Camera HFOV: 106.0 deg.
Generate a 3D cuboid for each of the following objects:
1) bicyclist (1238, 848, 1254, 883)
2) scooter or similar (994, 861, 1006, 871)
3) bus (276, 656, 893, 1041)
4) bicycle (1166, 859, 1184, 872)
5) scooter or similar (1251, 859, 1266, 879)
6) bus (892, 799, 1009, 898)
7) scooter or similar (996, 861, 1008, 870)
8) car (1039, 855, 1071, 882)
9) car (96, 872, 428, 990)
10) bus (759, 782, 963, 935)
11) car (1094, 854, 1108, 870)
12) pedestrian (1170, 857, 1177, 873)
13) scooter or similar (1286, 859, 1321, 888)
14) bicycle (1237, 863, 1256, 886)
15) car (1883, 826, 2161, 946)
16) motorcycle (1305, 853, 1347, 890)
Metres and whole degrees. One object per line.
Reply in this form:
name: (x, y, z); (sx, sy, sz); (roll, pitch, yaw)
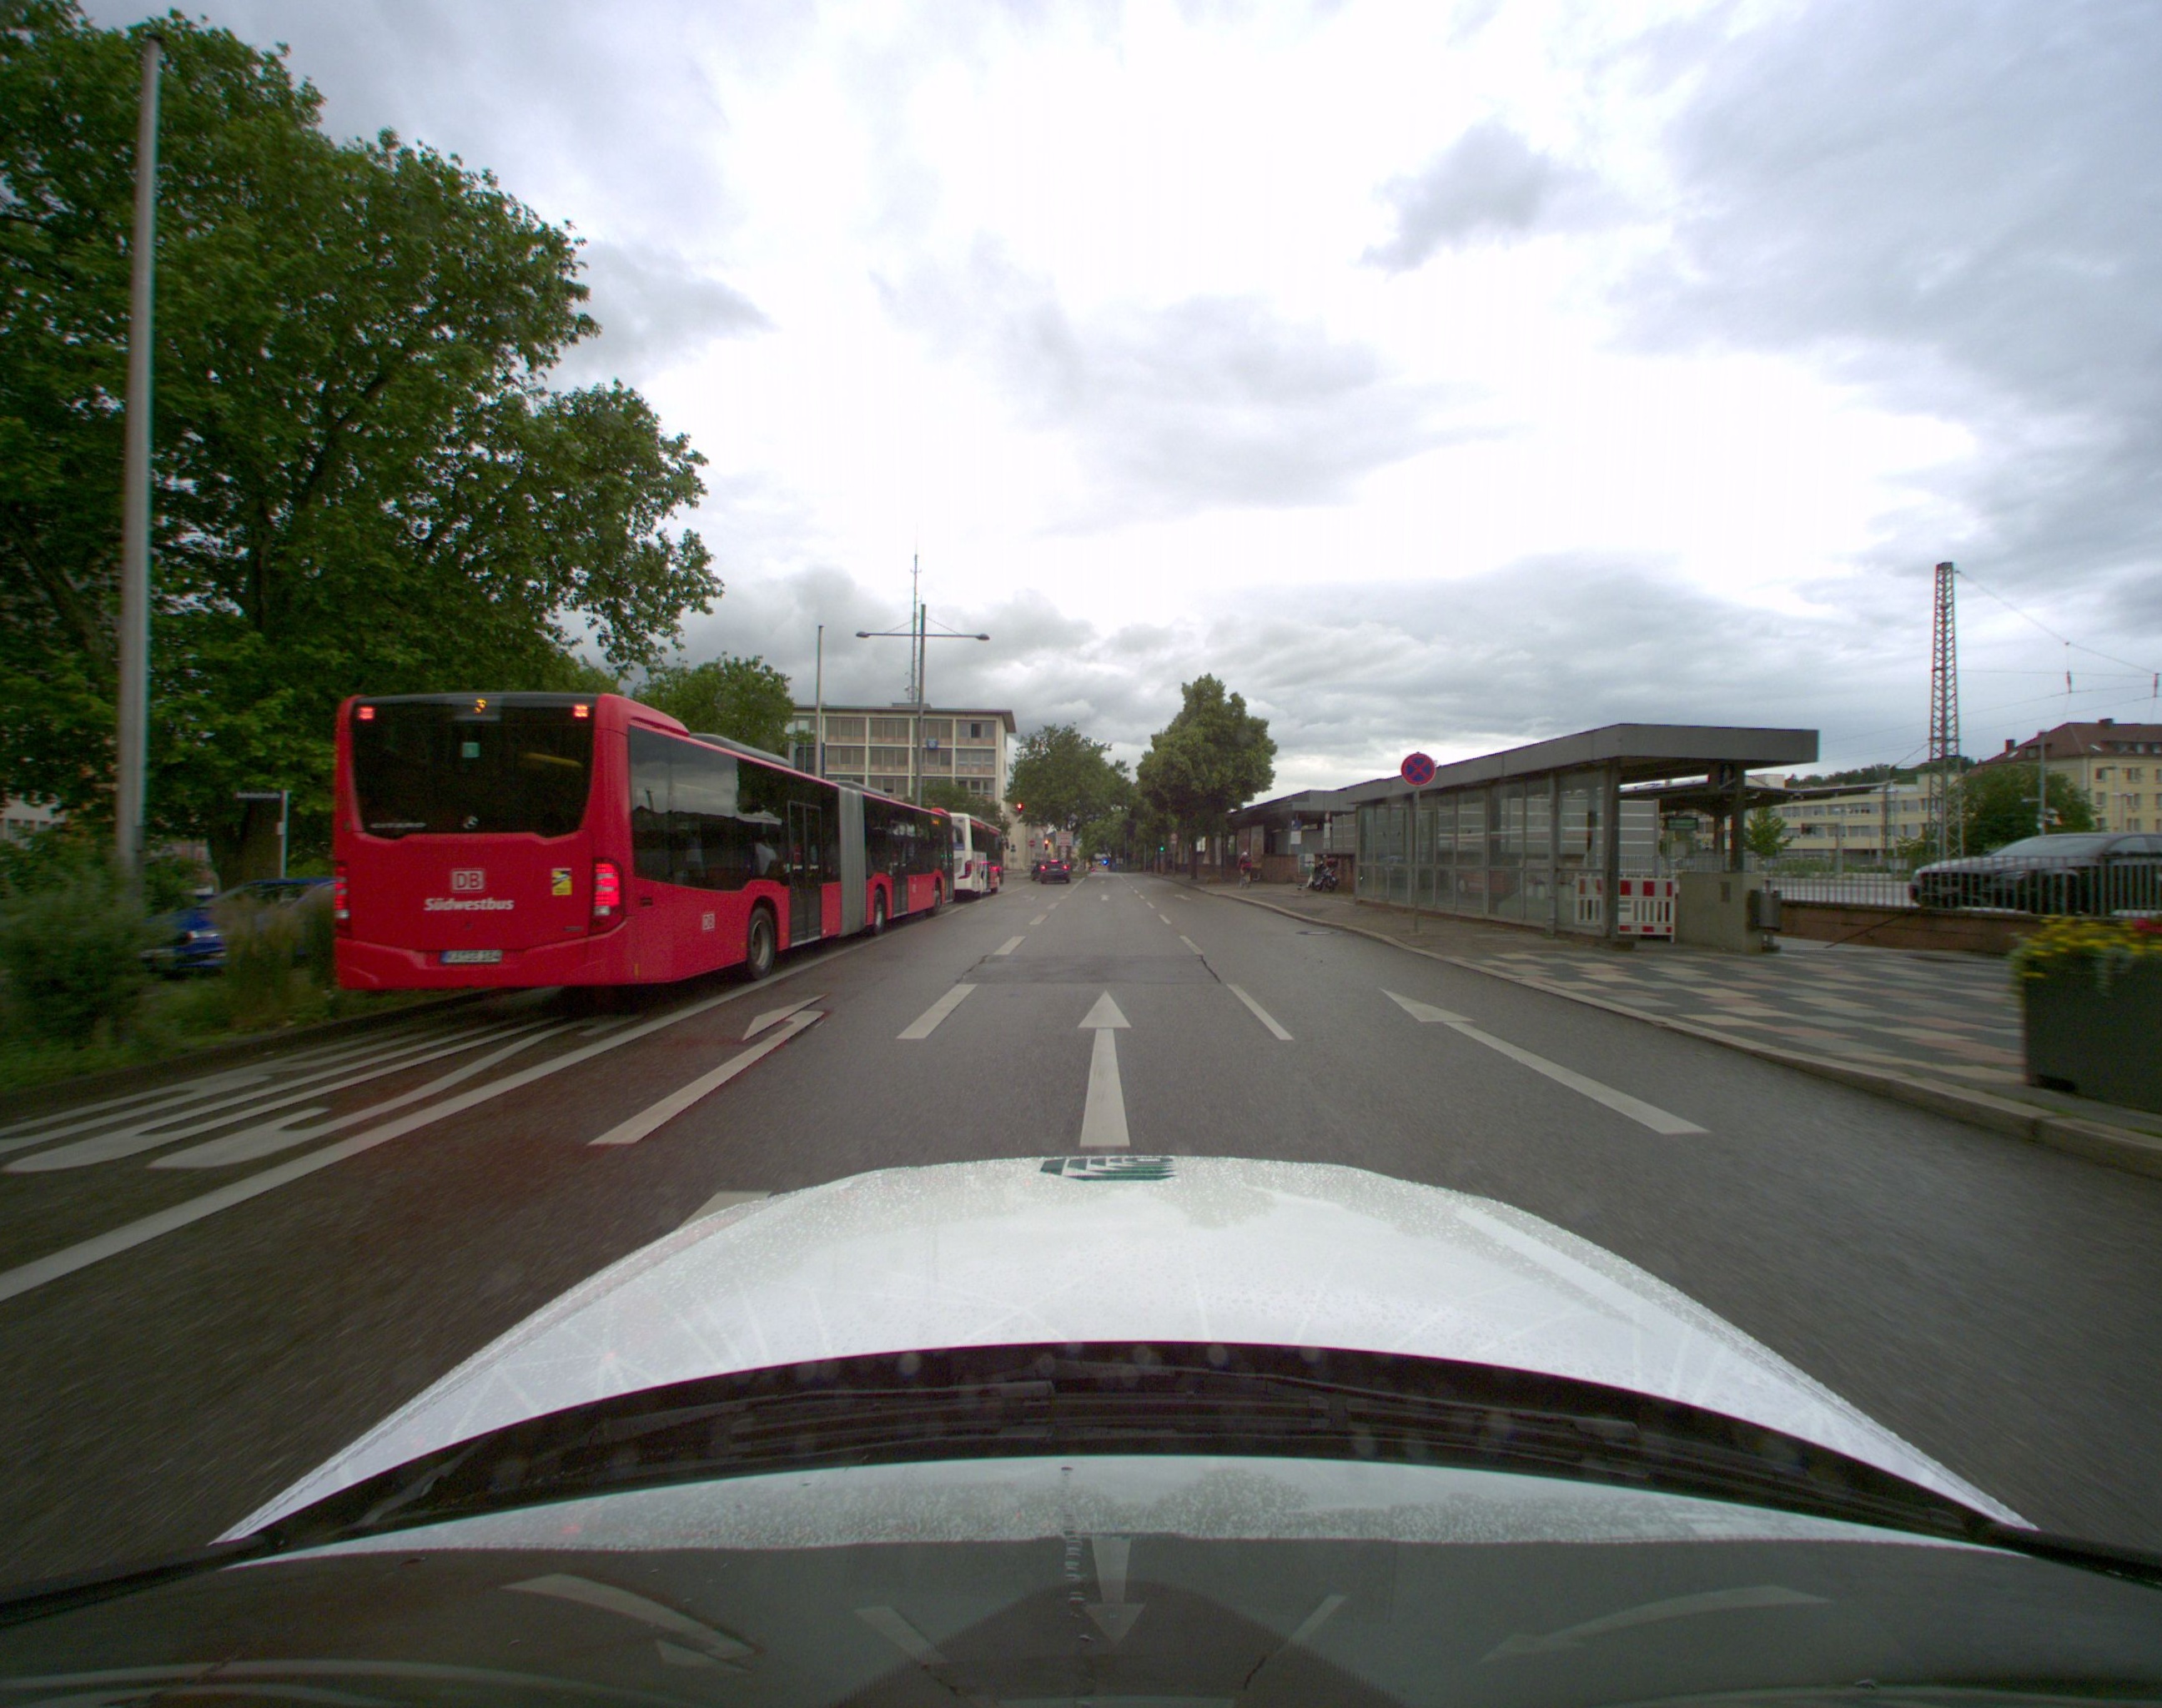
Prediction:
bicyclist: (7.527, 0.516, 37.162); (0.532, 1.538, 0.694); (-2, -1, -2)
scooter or similar: (-9.616, 1.413, 97.082); (0.601, 1.192, 1.538); (-1, -1, 34)
bus: (-5.376, -0.046, 11.896); (2.800, 3.245, 9.913); (-1, 0, 1)
bicycle: (9.234, 1.148, 79.930); (1.703, 1.249, 0.489); (-1, -1, 32)
scooter or similar: (10.013, 0.844, 45.987); (0.491, 1.153, 1.544); (-1, -1, -1)
bus: (-5.128, -0.172, 34.703); (2.946, 3.439, 12.556); (-1, 0, 0)
scooter or similar: (-9.689, 1.406, 99.722); (0.601, 1.164, 1.538); (-1, -1, 34)
car: (-1.630, 0.926, 53.239); (1.958, 1.640, 4.357); (-1, -1, -1)
car: (-13.451, 1.146, 13.817); (1.789, 1.579, 4.136); (-1, 0, -8)
bus: (-5.197, 0.092, 21.259); (2.742, 3.132, 8.844); (-1, 0, 1)
car: (3.367, 1.328, 137.118); (2.257, 2.656, 3.998); (-1, 0, -1)
pedestrian: (9.031, 1.067, 79.529); (0.452, 1.569, 0.396); (-1, -1, 33)
scooter or similar: (9.047, 0.784, 33.118); (0.494, 1.153, 1.704); (0, -1, -19)
bicycle: (7.557, 0.910, 37.176); (0.445, 1.016, 1.676); (-3, -1, -1)
car: (17.170, 0.487, 14.099); (4.674, 1.874, 2.106); (-1, 0, -3)
motorcycle: (9.267, 0.656, 30.930); (0.789, 1.348, 2.456); (-1, 0, -1)
